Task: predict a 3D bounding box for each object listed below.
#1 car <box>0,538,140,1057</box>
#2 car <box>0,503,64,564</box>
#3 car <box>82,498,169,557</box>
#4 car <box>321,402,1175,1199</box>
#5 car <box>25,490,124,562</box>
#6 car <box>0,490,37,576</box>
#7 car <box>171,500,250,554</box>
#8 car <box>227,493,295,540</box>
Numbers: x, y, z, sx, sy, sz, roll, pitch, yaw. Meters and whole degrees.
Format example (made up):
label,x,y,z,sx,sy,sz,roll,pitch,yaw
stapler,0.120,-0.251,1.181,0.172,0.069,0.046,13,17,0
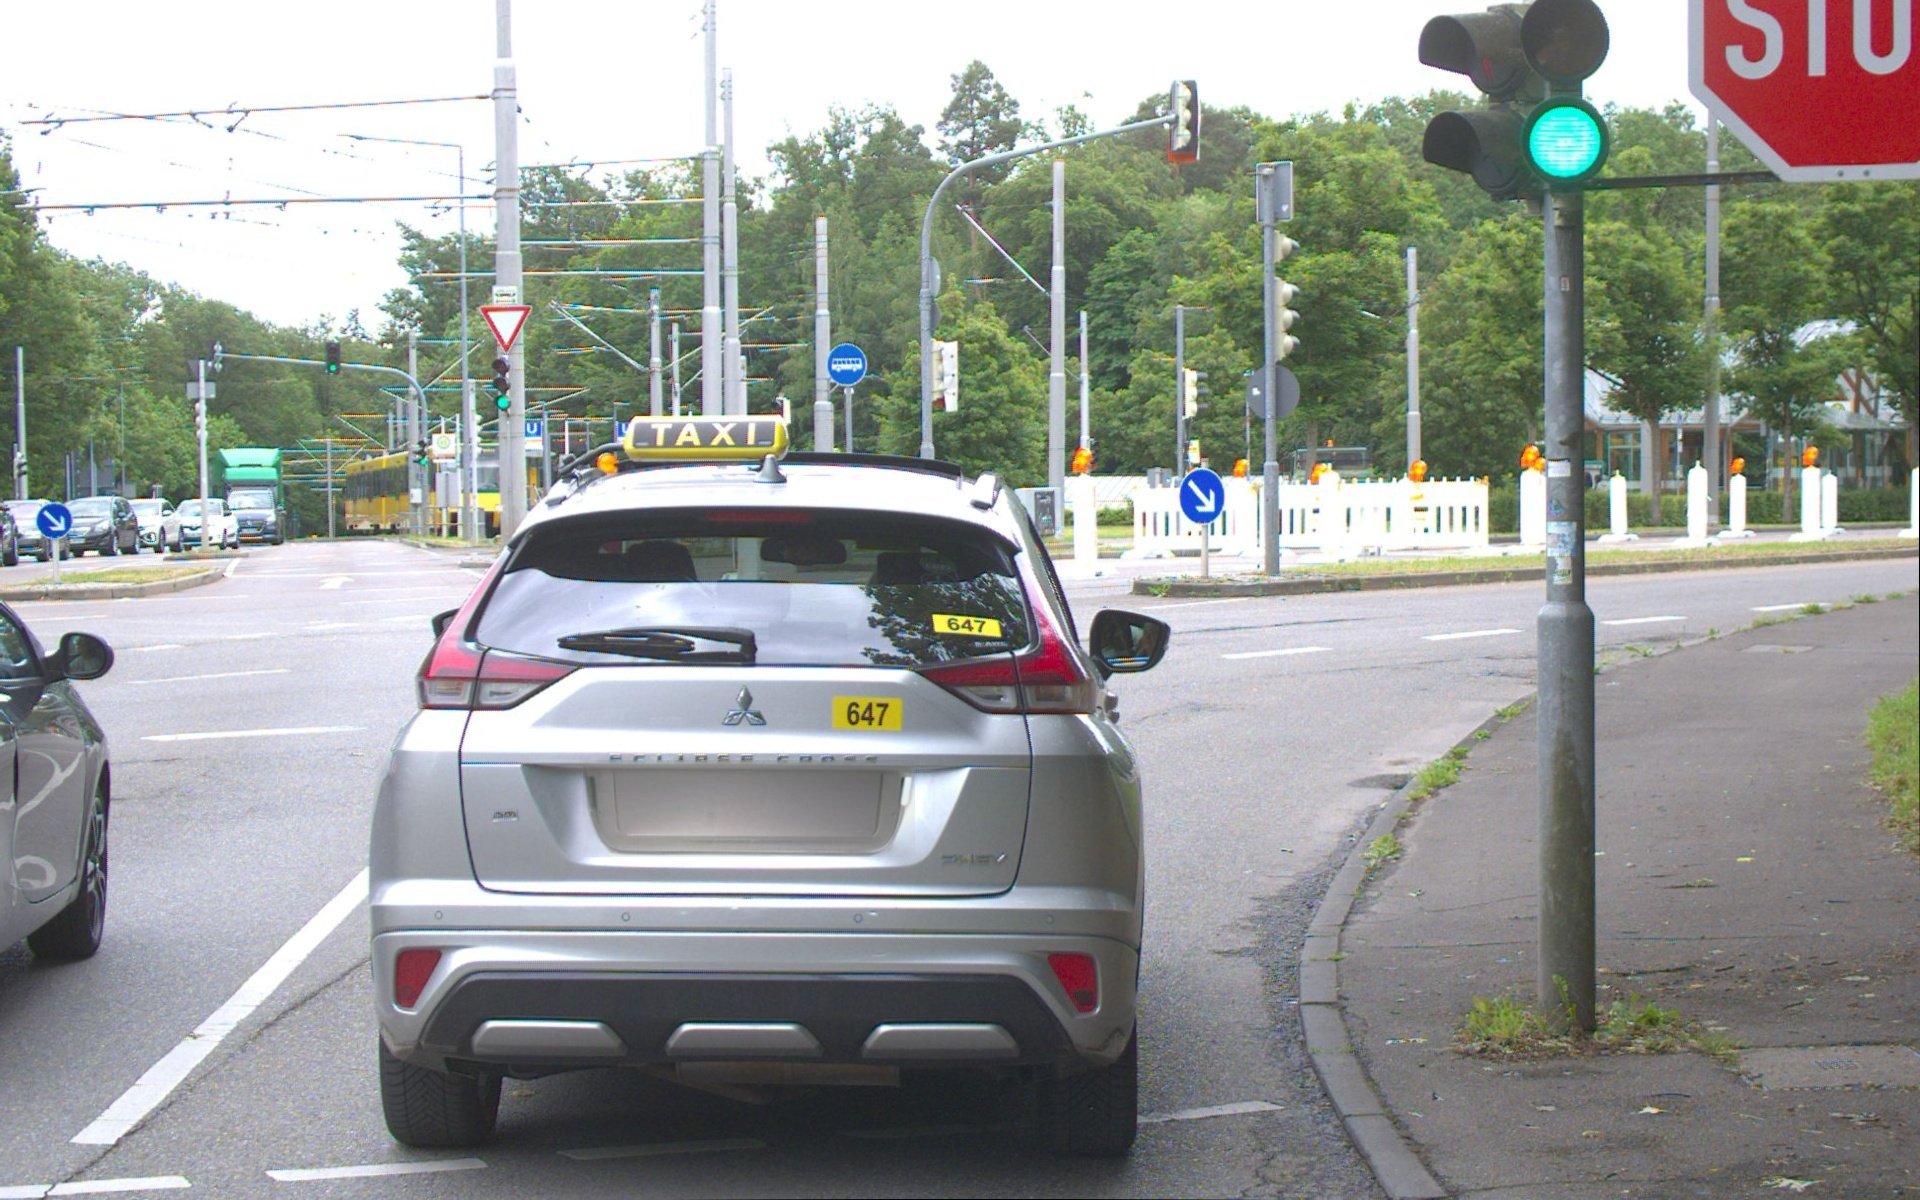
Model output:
label,x,y,z,sx,sy,sz,roll,pitch,yaw
car,-3.535,0.540,9.912,1.773,1.357,3.477,-2,2,-5
car,-22.296,-1.565,80.559,1.961,1.357,4.691,-1,2,-8
car,-23.686,-2.080,97.699,1.961,1.601,4.311,-1,2,-8
car,-0.477,0.414,9.121,1.773,1.742,3.781,1,2,-1
car,-23.395,-1.983,90.967,1.961,1.838,4.691,-1,2,-8
car,-20.651,-1.420,72.192,1.961,1.744,4.848,-1,2,-10
car,-22.555,-2.216,103.551,1.961,1.536,4.397,-1,2,-8
car,-23.775,-2.849,117.058,1.961,1.535,4.311,-1,2,-8
